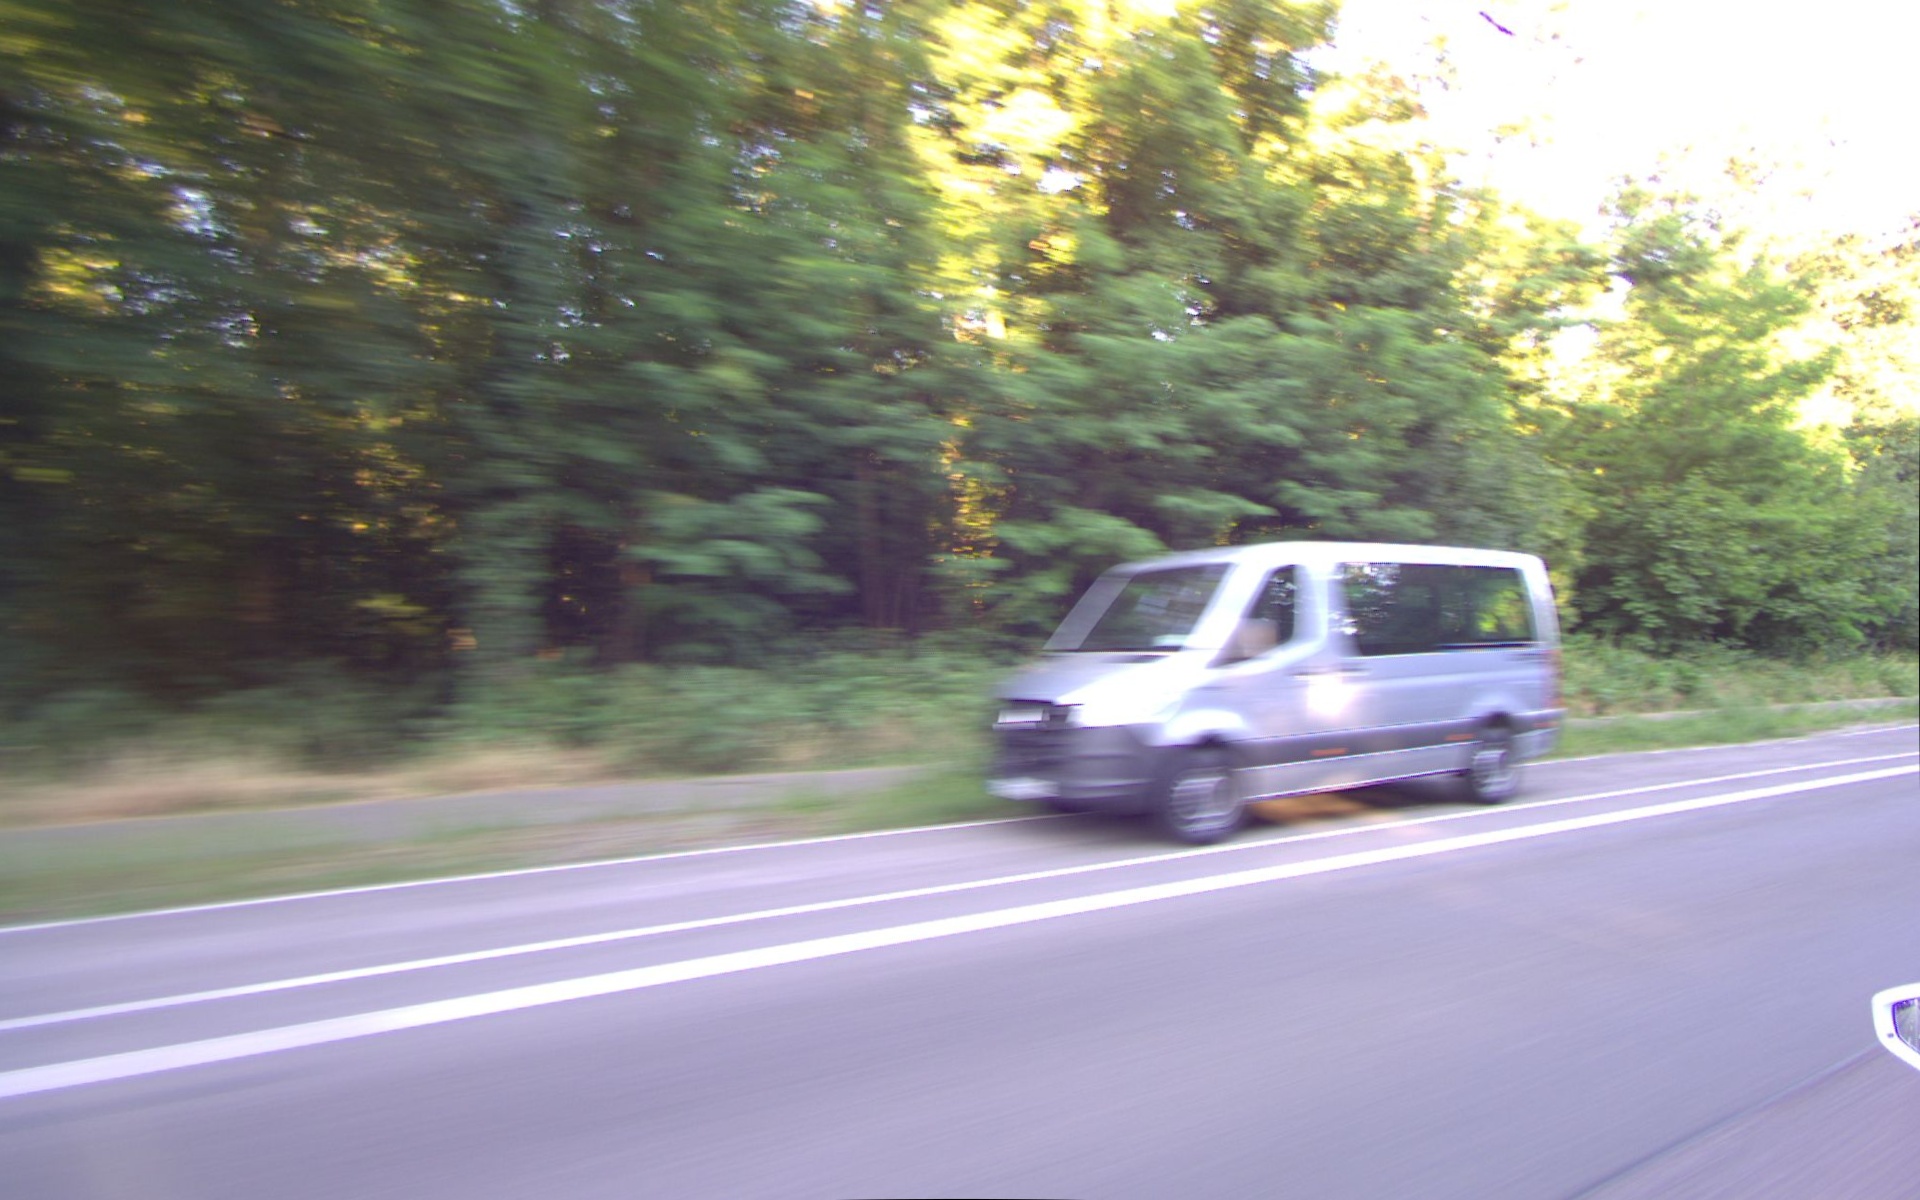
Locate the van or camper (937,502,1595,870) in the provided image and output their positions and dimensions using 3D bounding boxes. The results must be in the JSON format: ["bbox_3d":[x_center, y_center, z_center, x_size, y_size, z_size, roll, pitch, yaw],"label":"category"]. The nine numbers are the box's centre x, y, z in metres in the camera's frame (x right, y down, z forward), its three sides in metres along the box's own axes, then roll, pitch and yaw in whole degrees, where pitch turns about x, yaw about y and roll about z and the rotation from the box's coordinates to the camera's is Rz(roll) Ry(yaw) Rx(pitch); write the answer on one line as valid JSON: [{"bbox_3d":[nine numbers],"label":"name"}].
[{"bbox_3d":[3.030,0.692,9.203,6.310,2.421,2.100,1,-4,-32],"label":"van or camper"}]
